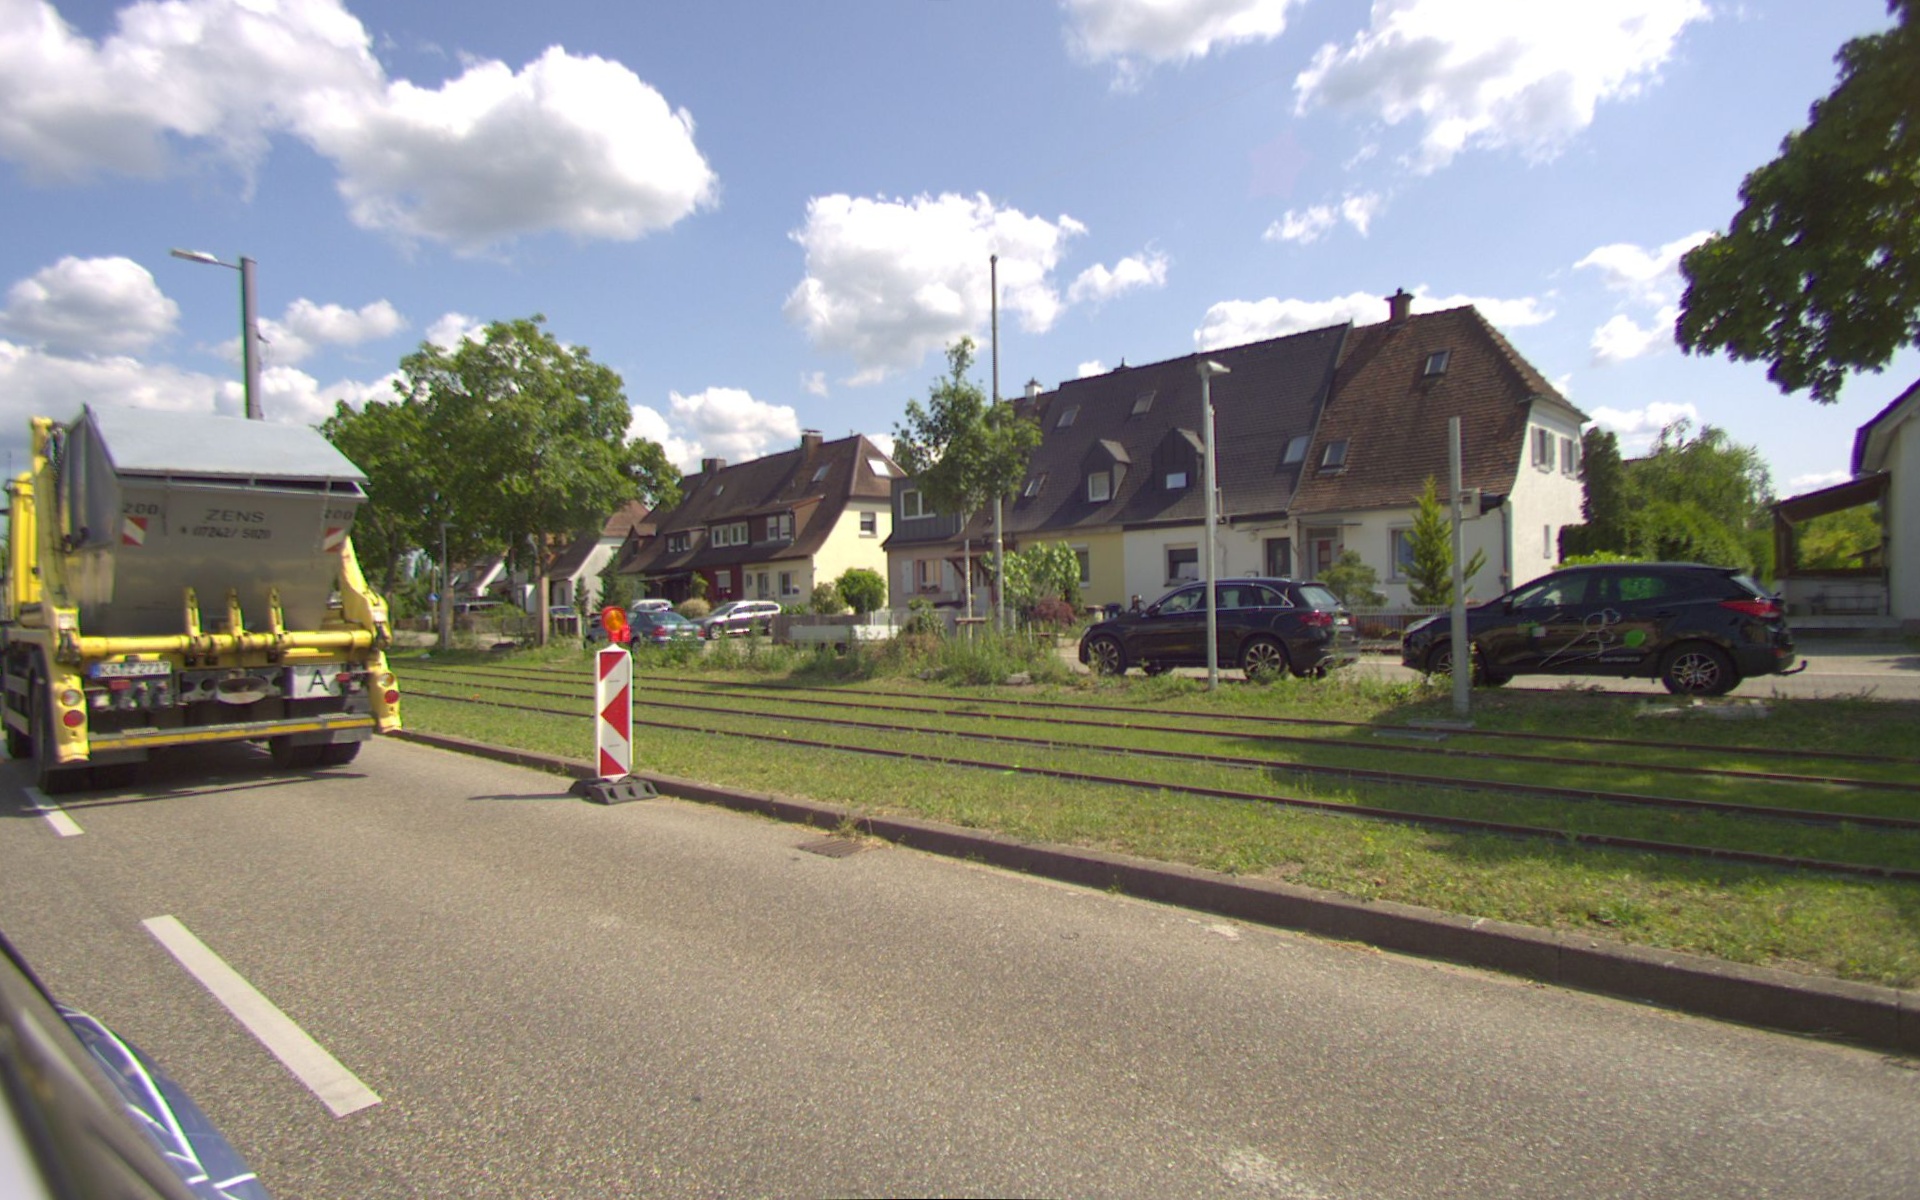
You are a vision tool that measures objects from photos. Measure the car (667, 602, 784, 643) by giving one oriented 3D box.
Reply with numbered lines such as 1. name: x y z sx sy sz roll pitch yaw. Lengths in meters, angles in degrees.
1. car: -9.812 0.926 42.601 1.927 1.535 4.419 -2 0 45

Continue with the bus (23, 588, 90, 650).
1. bus: -54.864 1.196 61.322 2.605 3.438 12.258 1 -2 -44

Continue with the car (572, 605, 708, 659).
1. car: -9.468 0.903 29.724 1.799 1.416 4.815 -2 0 -45

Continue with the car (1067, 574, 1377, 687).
1. car: 4.123 0.495 16.445 4.565 1.599 1.792 -2 -2 41

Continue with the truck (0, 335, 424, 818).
1. truck: -8.316 -0.081 10.699 7.150 3.486 2.531 -2 -2 43

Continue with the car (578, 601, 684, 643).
1. car: -15.910 1.028 49.103 2.066 1.850 4.419 -2 0 45

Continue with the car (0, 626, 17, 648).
1. car: -69.010 2.661 72.622 1.444 1.513 4.119 0 -1 -36

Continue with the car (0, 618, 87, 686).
1. car: -26.861 1.459 29.457 4.308 1.787 1.716 -2 0 43

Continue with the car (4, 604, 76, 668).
1. car: -38.215 1.453 42.011 2.078 2.462 5.576 -1 0 -43

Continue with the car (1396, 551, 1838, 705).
1. car: 8.272 0.362 13.053 4.566 1.650 1.677 -2 -2 42
